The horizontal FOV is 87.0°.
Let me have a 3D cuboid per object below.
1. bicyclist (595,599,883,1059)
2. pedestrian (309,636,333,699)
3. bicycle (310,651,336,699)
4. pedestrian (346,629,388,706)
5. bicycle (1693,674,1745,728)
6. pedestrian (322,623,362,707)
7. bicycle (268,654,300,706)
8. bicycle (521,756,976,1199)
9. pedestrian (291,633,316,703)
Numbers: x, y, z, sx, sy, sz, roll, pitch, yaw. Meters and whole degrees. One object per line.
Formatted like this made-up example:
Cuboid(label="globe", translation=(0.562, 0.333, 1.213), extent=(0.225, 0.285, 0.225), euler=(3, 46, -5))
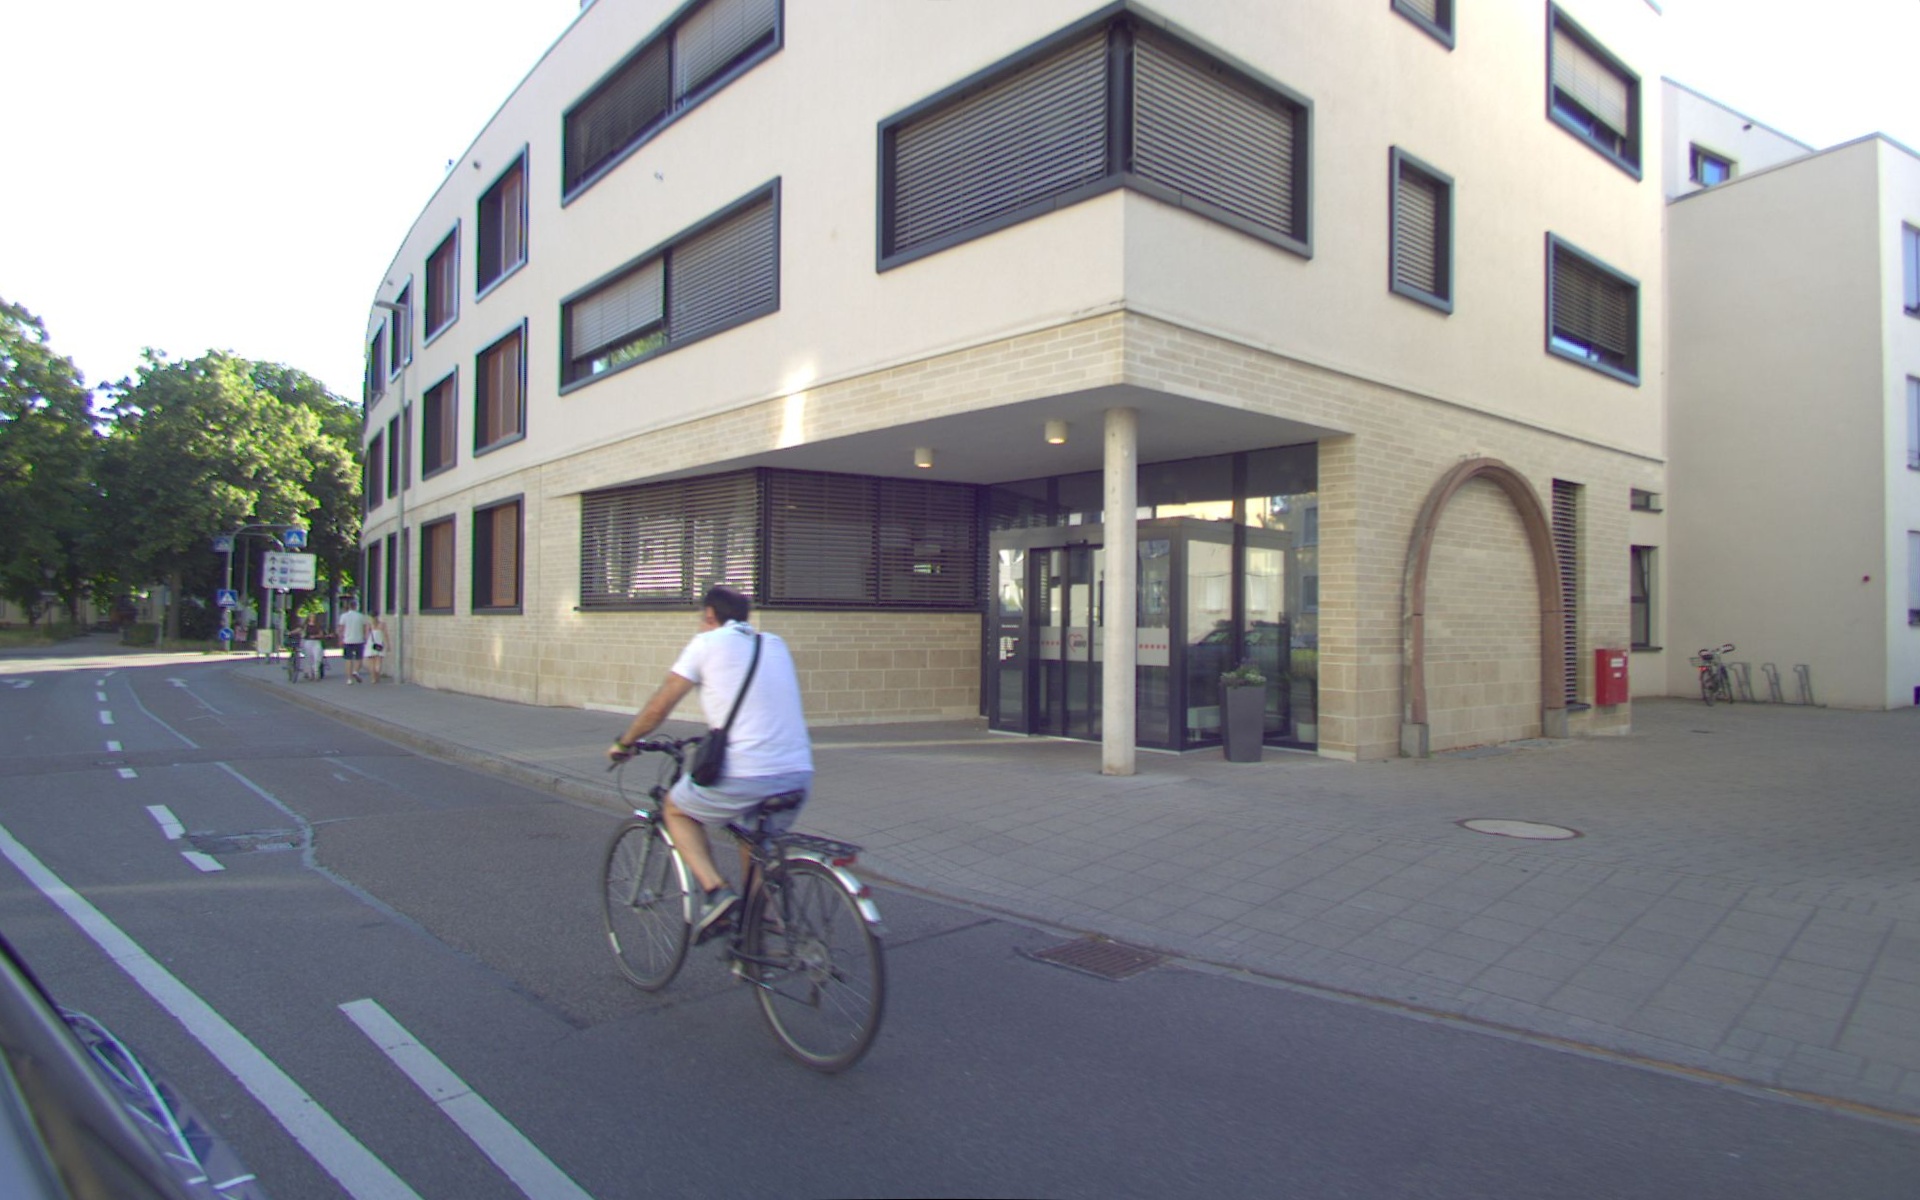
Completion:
Cuboid(label="bicyclist", translation=(-0.782, 0.705, 3.575), extent=(0.800, 1.390, 0.616), euler=(-1, -2, 41))
Cuboid(label="pedestrian", translation=(-16.279, 1.710, 25.801), extent=(0.467, 1.577, 0.604), euler=(2, -3, -32))
Cuboid(label="bicycle", translation=(-16.149, 1.883, 25.650), extent=(0.371, 1.176, 1.841), euler=(0, -2, -38))
Cuboid(label="pedestrian", translation=(-13.772, 1.538, 23.500), extent=(0.694, 1.727, 0.844), euler=(0, -1, -43))
Cuboid(label="bicycle", translation=(14.750, 1.941, 19.653), extent=(1.679, 0.912, 0.403), euler=(0, -1, -39))
Cuboid(label="pedestrian", translation=(-14.153, 1.455, 23.177), extent=(0.598, 1.863, 0.994), euler=(0, -1, -43))
Cuboid(label="bicycle", translation=(-16.378, 1.922, 24.513), extent=(0.435, 1.187, 1.970), euler=(1, -3, -40))
Cuboid(label="bicycle", translation=(-0.826, 1.210, 3.583), extent=(1.783, 1.089, 0.616), euler=(-1, -2, 41))
Cuboid(label="pedestrian", translation=(-15.917, 1.633, 24.554), extent=(0.467, 1.660, 0.604), euler=(-1, -1, -31))
